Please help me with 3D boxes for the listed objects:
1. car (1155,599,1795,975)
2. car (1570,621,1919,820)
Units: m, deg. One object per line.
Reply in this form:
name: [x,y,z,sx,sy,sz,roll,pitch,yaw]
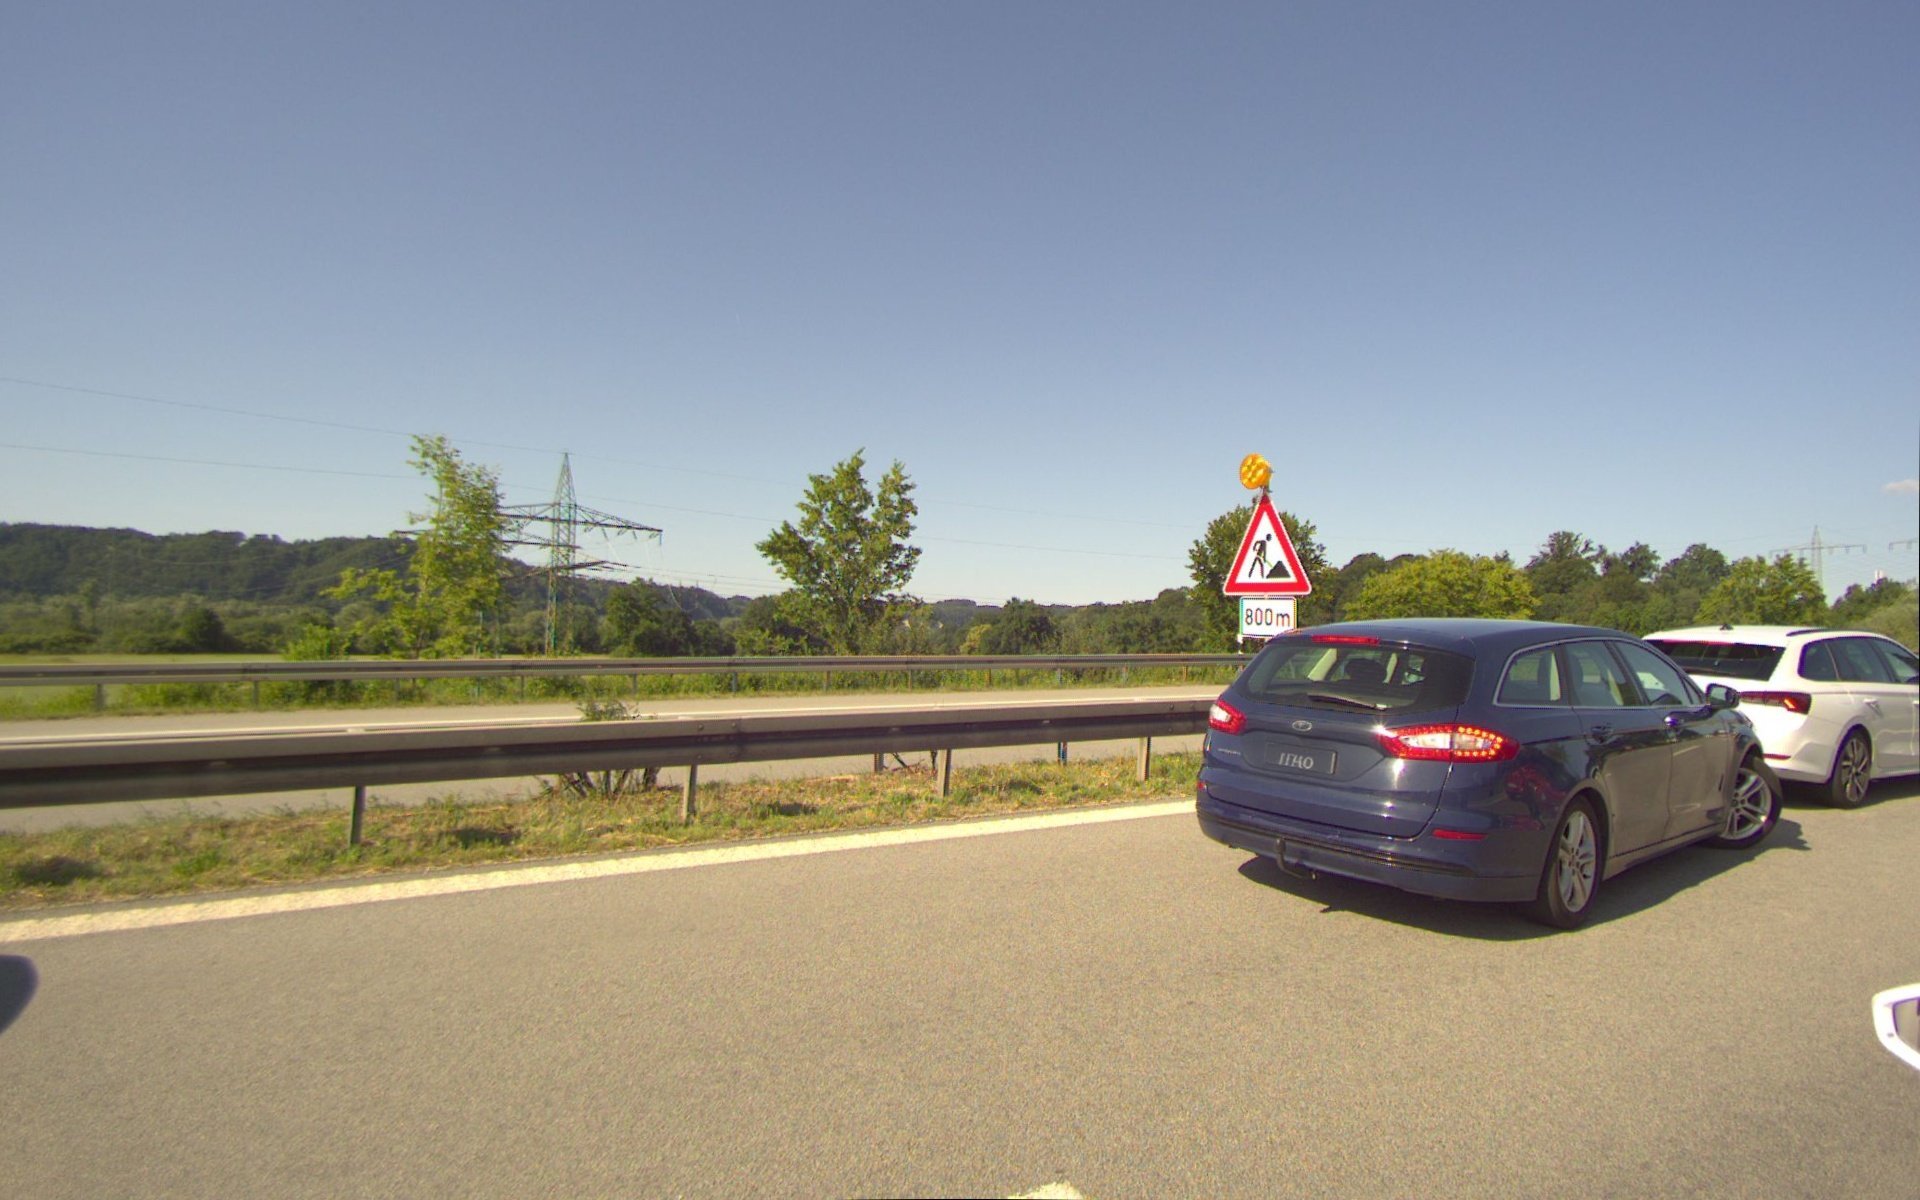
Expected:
car: [3.356,0.833,6.134,4.452,1.513,1.775,2,-2,-38]
car: [7.735,0.971,9.365,4.159,1.461,1.687,1,0,-30]
